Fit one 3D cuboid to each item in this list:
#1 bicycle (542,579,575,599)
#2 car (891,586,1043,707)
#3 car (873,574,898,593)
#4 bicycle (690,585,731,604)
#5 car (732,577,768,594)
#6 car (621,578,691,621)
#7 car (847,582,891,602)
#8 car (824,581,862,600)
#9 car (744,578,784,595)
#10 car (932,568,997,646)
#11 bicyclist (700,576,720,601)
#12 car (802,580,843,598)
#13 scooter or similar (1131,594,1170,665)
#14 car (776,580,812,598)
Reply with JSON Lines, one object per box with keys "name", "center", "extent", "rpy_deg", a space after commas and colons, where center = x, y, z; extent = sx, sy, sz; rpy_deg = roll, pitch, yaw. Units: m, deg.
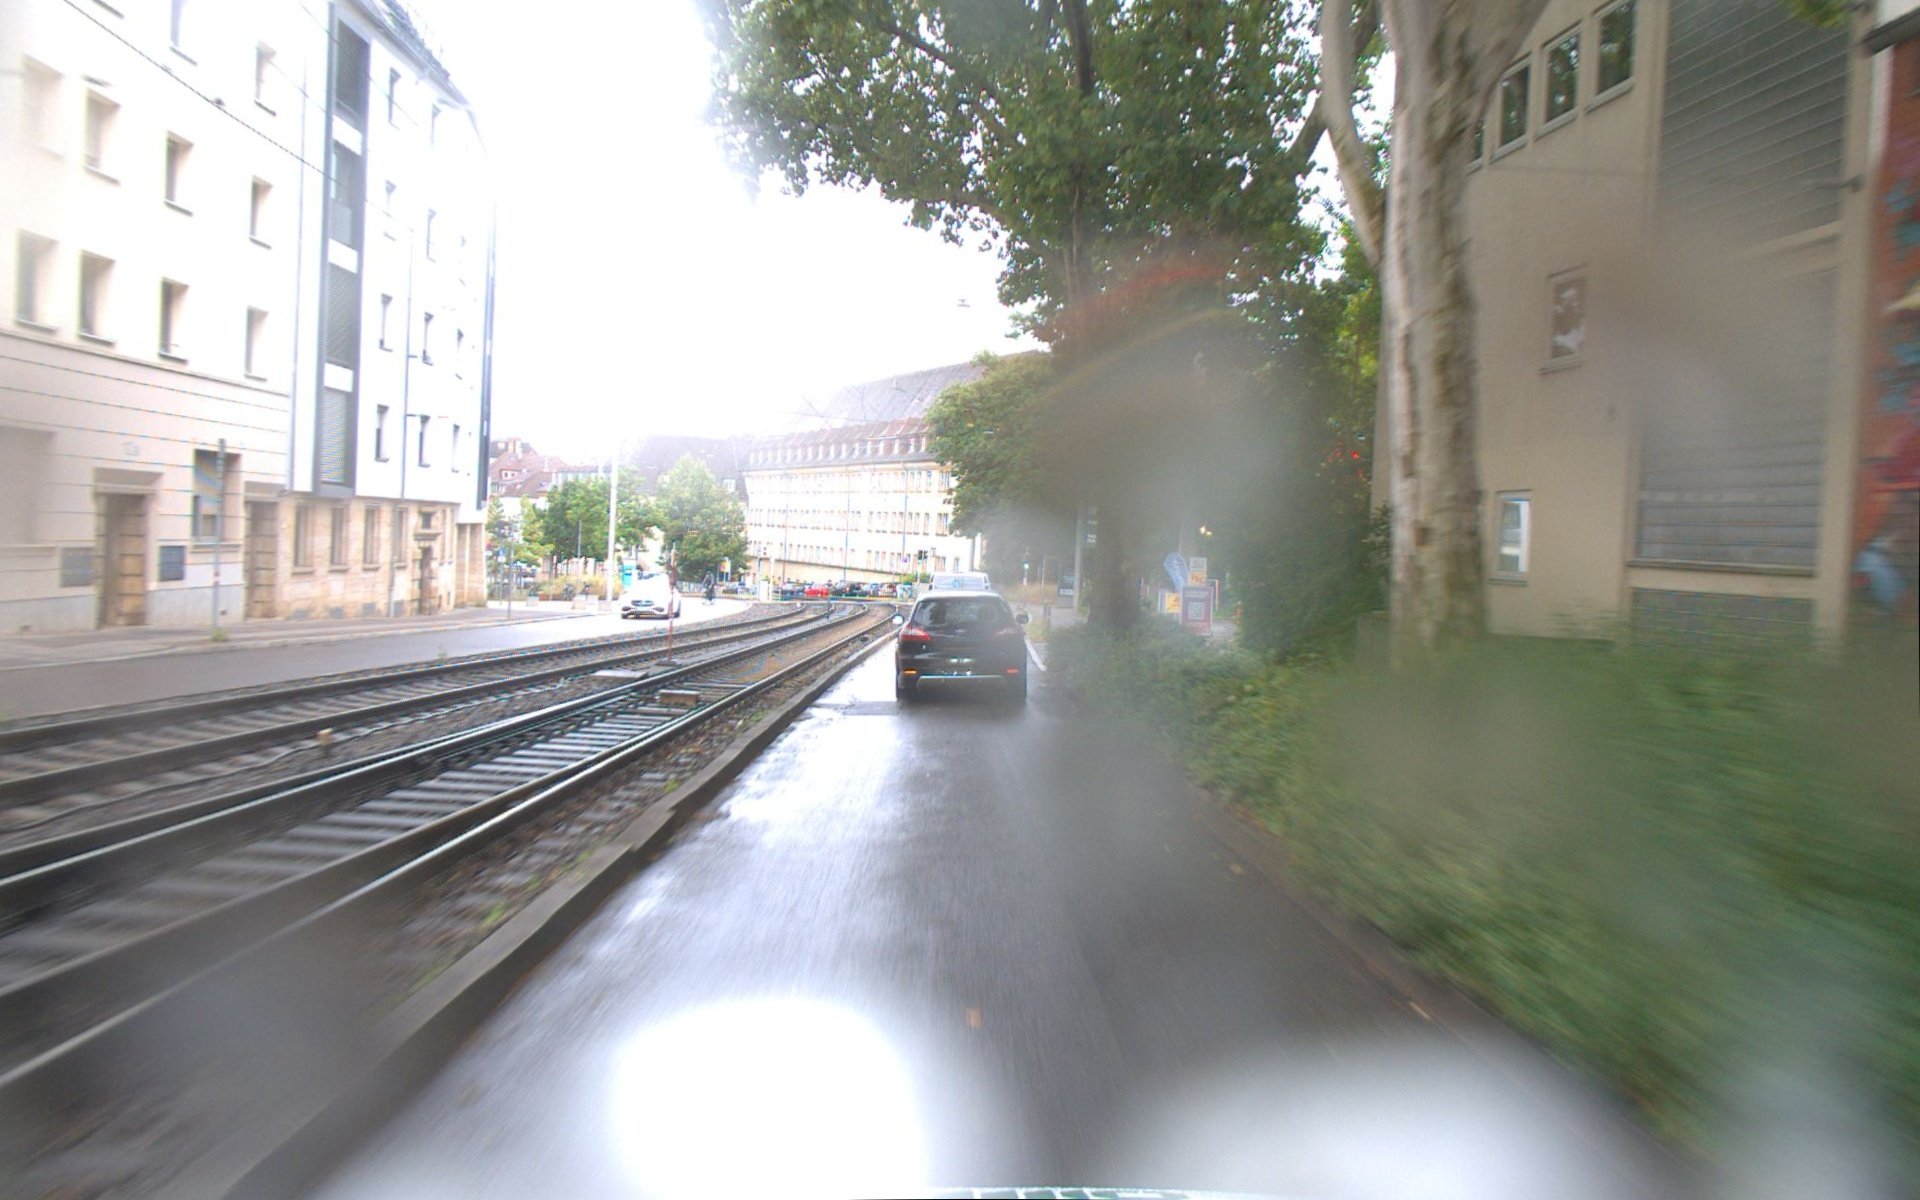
{"name": "bicycle", "center": [-23.168, -0.649, 95.438], "extent": [1.777, 1.079, 0.570], "rpy_deg": [2, 0, -4]}
{"name": "car", "center": [0.029, 0.583, 23.462], "extent": [1.894, 1.478, 4.316], "rpy_deg": [3, 0, -2]}
{"name": "car", "center": [-6.297, -1.421, 138.899], "extent": [1.627, 1.502, 3.636], "rpy_deg": [2, 0, -10]}
{"name": "bicycle", "center": [-13.524, -0.296, 89.692], "extent": [2.084, 0.959, 0.804], "rpy_deg": [1, 0, -39]}
{"name": "car", "center": [-20.780, -1.441, 163.831], "extent": [1.976, 1.569, 3.954], "rpy_deg": [2, 0, -34]}
{"name": "car", "center": [-11.697, -0.034, 63.845], "extent": [1.762, 1.508, 4.840], "rpy_deg": [2, 0, 0]}
{"name": "car", "center": [-7.826, -0.724, 142.558], "extent": [1.977, 1.569, 3.951], "rpy_deg": [2, 0, -35]}
{"name": "car", "center": [-10.424, -0.814, 147.370], "extent": [1.568, 1.569, 3.951], "rpy_deg": [2, 0, -35]}
{"name": "car", "center": [-19.014, -1.294, 160.242], "extent": [1.983, 1.569, 3.939], "rpy_deg": [2, 0, -42]}
{"name": "car", "center": [0.091, 0.179, 47.046], "extent": [1.705, 2.049, 3.903], "rpy_deg": [2, 0, -1]}
{"name": "bicyclist", "center": [-13.548, -0.627, 89.686], "extent": [0.766, 1.336, 0.780], "rpy_deg": [0, 1, -38]}
{"name": "car", "center": [-12.622, -1.011, 152.046], "extent": [1.979, 1.569, 3.948], "rpy_deg": [2, 0, -37]}
{"name": "scooter or similar", "center": [3.449, 0.540, 29.900], "extent": [0.365, 1.256, 1.371], "rpy_deg": [1, -2, 21]}
{"name": "car", "center": [-15.713, -1.056, 156.396], "extent": [1.971, 1.569, 3.964], "rpy_deg": [0, 1, -28]}
